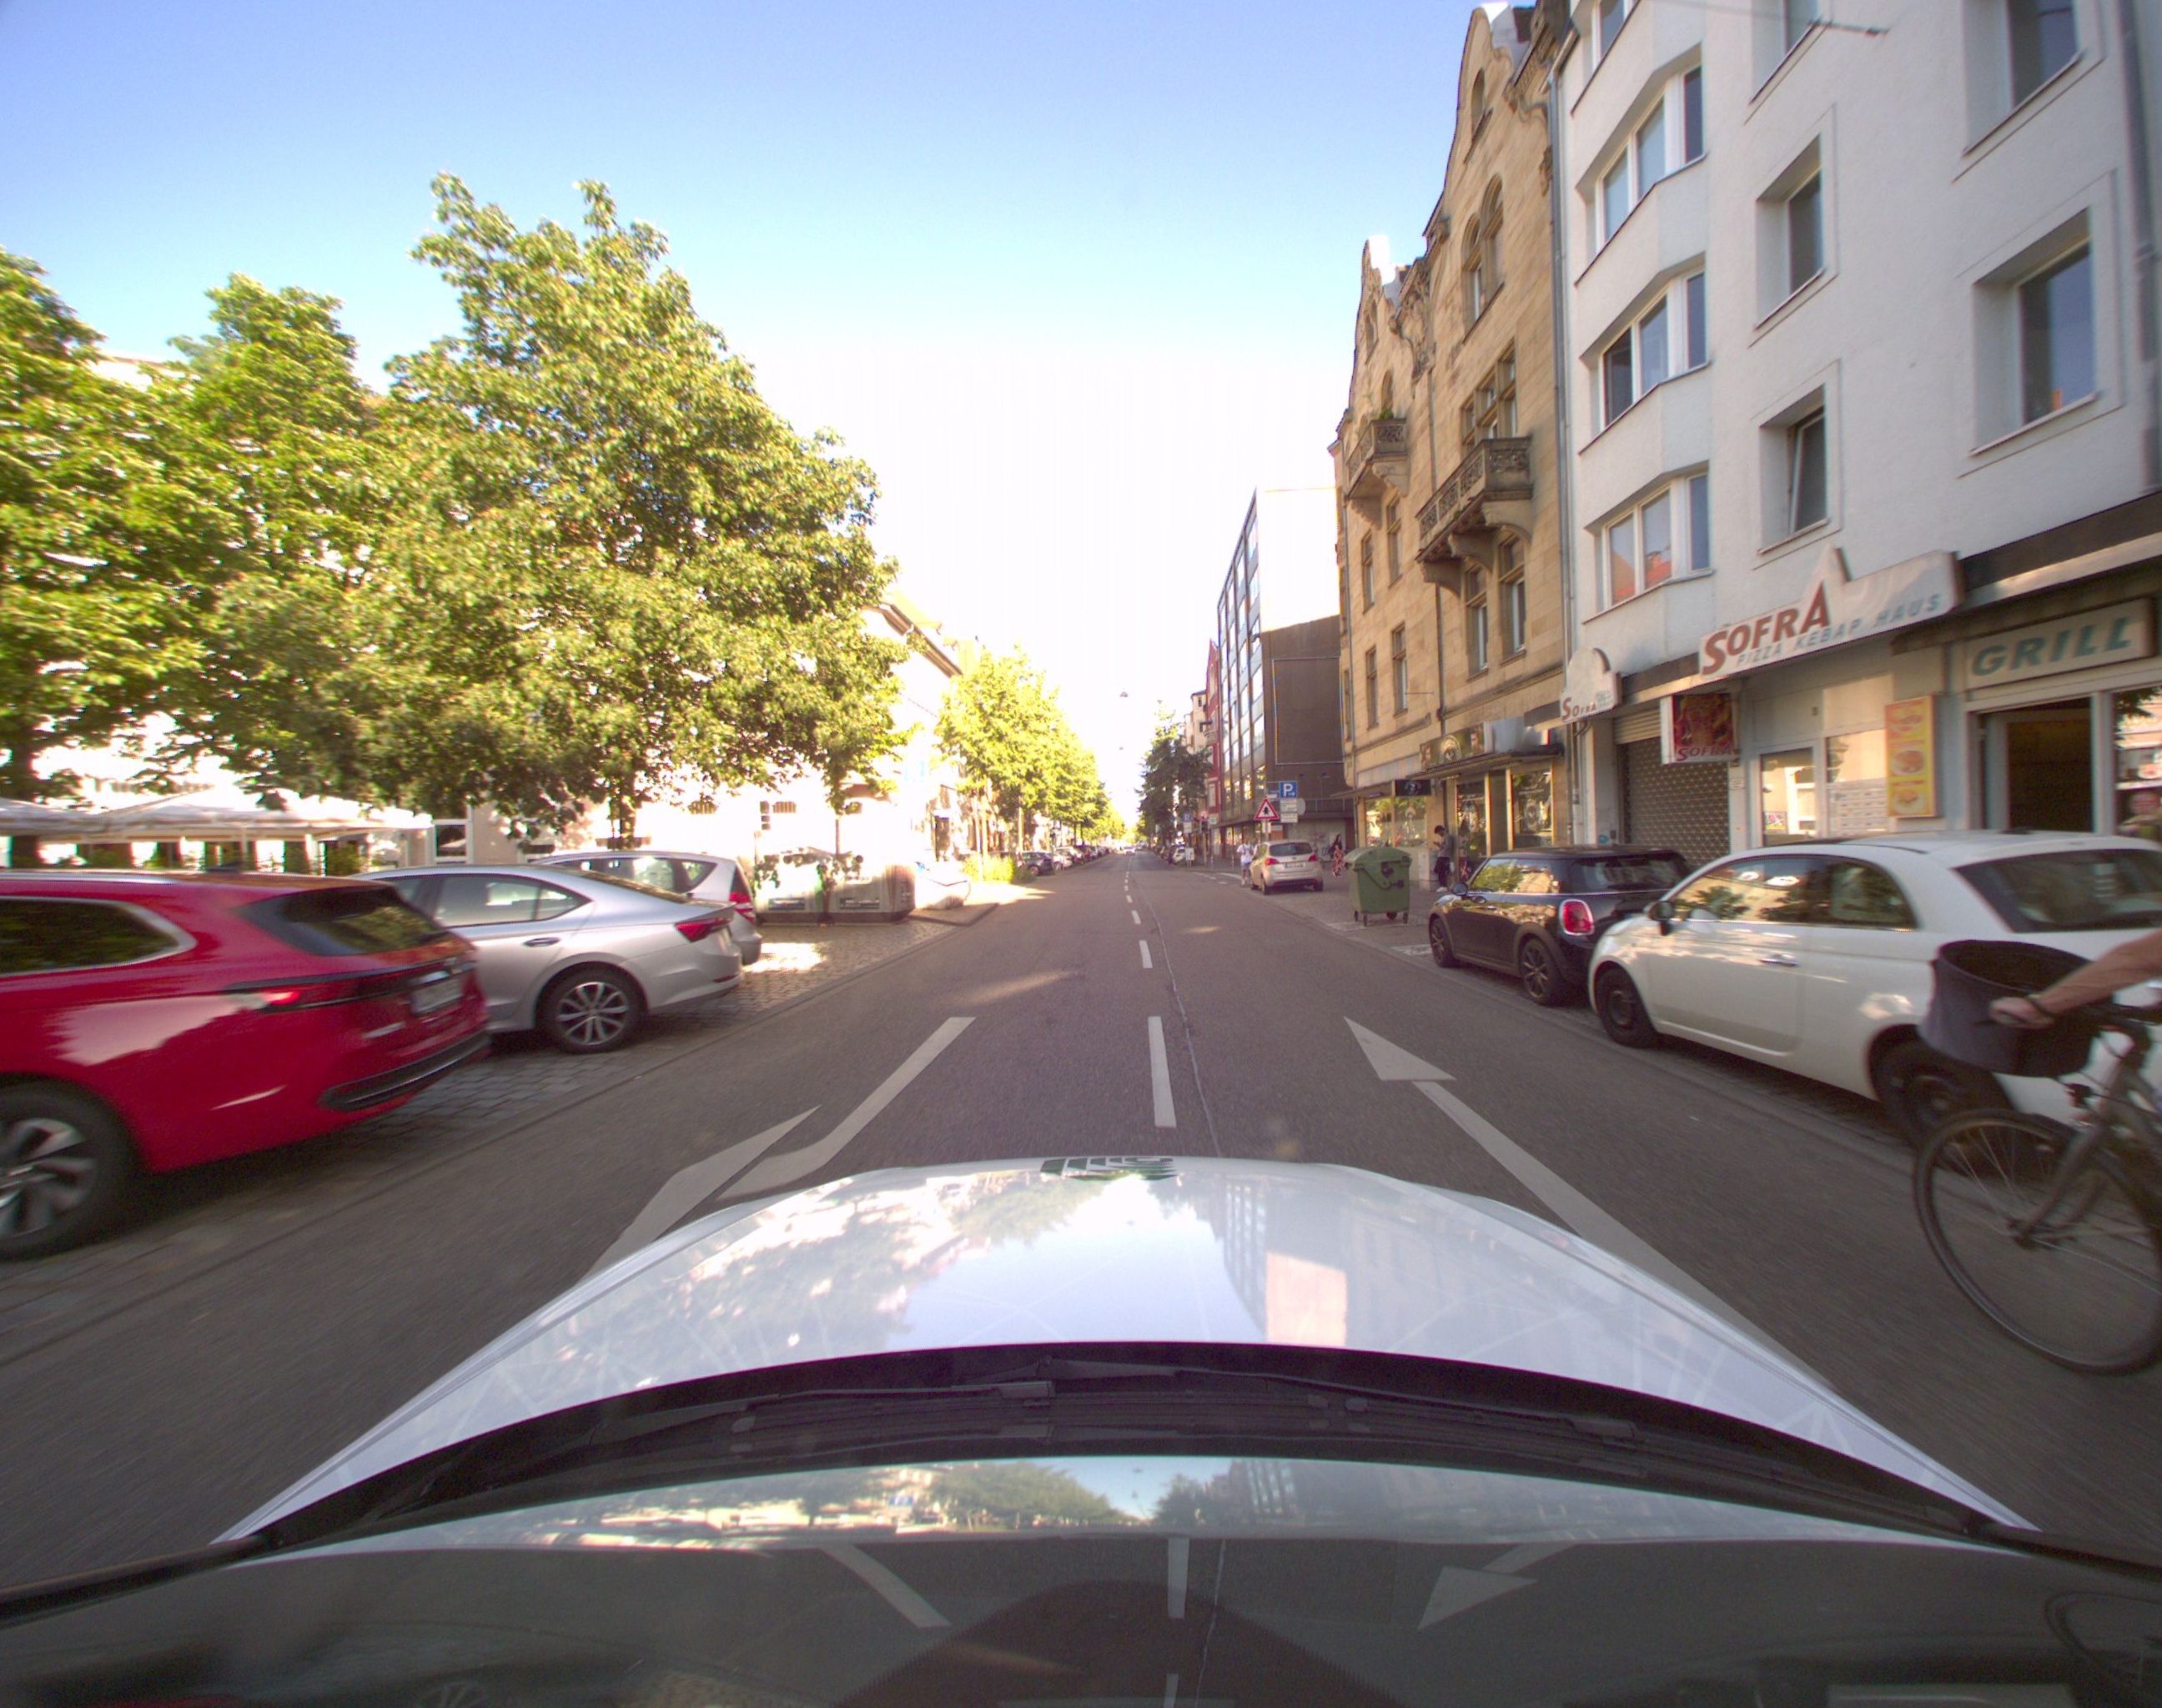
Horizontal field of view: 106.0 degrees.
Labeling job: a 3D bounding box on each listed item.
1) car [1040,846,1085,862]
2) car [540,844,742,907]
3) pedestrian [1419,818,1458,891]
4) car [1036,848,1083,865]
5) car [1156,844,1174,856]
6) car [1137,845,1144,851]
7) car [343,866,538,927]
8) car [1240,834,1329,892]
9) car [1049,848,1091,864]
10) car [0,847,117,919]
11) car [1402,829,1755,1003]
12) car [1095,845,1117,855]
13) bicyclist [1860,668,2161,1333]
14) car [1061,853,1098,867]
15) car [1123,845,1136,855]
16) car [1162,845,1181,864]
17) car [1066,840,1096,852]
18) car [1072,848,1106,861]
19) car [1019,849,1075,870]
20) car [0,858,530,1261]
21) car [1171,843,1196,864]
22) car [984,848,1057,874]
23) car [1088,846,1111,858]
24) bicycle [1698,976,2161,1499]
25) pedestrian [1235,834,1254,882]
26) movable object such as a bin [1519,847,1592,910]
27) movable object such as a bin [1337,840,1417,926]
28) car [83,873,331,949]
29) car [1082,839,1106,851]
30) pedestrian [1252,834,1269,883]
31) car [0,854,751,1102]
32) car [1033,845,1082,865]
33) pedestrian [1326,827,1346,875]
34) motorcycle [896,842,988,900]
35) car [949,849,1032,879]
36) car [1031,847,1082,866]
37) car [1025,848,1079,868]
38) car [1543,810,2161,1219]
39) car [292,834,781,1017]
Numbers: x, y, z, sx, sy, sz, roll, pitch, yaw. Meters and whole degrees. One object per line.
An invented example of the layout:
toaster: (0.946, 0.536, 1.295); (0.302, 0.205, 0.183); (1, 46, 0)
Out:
car: (-1.700, -0.012, 76.302); (3.969, 1.508, 1.897); (0, 0, 4)
car: (-13.298, 0.615, 25.085); (5.286, 1.800, 2.147); (0, -1, -23)
pedestrian: (9.061, 0.007, 20.664); (0.605, 1.788, 0.684); (-3, -1, 2)
car: (-1.848, 0.246, 72.375); (3.969, 1.508, 2.002); (0, 0, 4)
car: (10.196, -0.493, 99.479); (1.985, 1.453, 4.004); (-1, 0, 3)
car: (15.791, -1.605, 216.320); (1.862, 1.556, 4.005); (0, 0, 4)
car: (-18.139, 1.157, 23.306); (3.919, 1.564, 1.968); (0, -1, -20)
car: (6.369, 0.275, 25.984); (1.891, 1.675, 4.829); (0, 0, 3)
car: (-1.044, 0.212, 80.898); (3.970, 1.508, 2.002); (0, 0, 3)
car: (-31.834, 0.814, 23.067); (5.600, 2.014, 1.804); (0, -1, -23)
car: (4.888, 0.528, 8.688); (1.670, 1.447, 3.789); (0, 0, 4)
car: (5.028, -0.778, 162.699); (3.959, 2.013, 2.007); (-1, 0, 13)
bicyclist: (2.762, 0.321, 1.936); (0.783, 1.453, 1.096); (0, -1, 3)
car: (-0.111, 0.696, 92.458); (3.966, 1.508, 2.004); (1, 0, 7)
car: (7.787, -0.627, 130.927); (1.984, 1.556, 4.005); (0, 0, 4)
car: (10.190, 0.084, 92.020); (1.985, 2.014, 4.003); (0, 0, 3)
car: (0.015, -1.117, 111.468); (3.966, 1.508, 2.004); (1, 0, 7)
car: (0.988, 0.063, 98.227); (3.966, 1.508, 2.004); (1, 0, 7)
car: (-2.508, 0.382, 60.494); (3.969, 1.508, 2.002); (0, 0, 4)
car: (-5.452, 0.774, 3.448); (4.850, 1.488, 1.753); (0, -1, -19)
car: (8.396, -0.021, 67.232); (1.983, 1.618, 4.017); (0, 0, 6)
car: (-3.483, 0.397, 47.541); (3.969, 1.508, 2.002); (0, 0, 4)
car: (3.395, -0.395, 149.526); (3.959, 2.013, 2.007); (-1, 0, 13)
bicycle: (2.746, 0.963, 1.923); (0.650, 0.958, 2.700); (0, 0, 3)
pedestrian: (6.037, 0.152, 30.113); (0.609, 1.735, 0.637); (0, -1, 18)
movable object such as a bin: (8.602, 0.438, 14.799); (0.872, 1.123, 0.829); (0, -1, 3)
movable object such as a bin: (5.583, 0.513, 15.454); (1.067, 1.457, 1.496); (-4, 1, 8)
car: (-22.632, 1.409, 21.314); (3.919, 1.771, 1.968); (0, -1, -20)
car: (2.294, -1.590, 142.401); (3.959, 2.013, 2.007); (-1, 0, 13)
pedestrian: (6.536, 0.162, 29.692); (0.508, 1.780, 0.615); (0, -1, 20)
car: (-4.944, 0.750, 6.483); (4.241, 1.477, 1.722); (0, -1, -24)
car: (-2.023, 0.109, 70.098); (3.969, 1.674, 2.091); (0, 0, 4)
pedestrian: (10.051, -0.109, 32.052); (0.640, 1.871, 0.630); (-1, -1, 26)
motorcycle: (-4.120, 0.498, 24.121); (2.450, 1.604, 1.005); (-2, 0, 22)
car: (-4.637, 0.495, 42.128); (3.969, 1.508, 2.002); (0, 0, 4)
car: (-2.024, 0.231, 67.606); (3.969, 1.508, 2.002); (0, 0, 4)
car: (-2.196, 0.324, 62.570); (3.969, 1.508, 2.002); (0, 0, 4)
car: (4.653, 0.597, 4.898); (1.712, 1.515, 3.584); (-4, -1, 2)
car: (-5.493, 0.631, 8.829); (4.010, 1.586, 1.814); (0, -1, -28)
